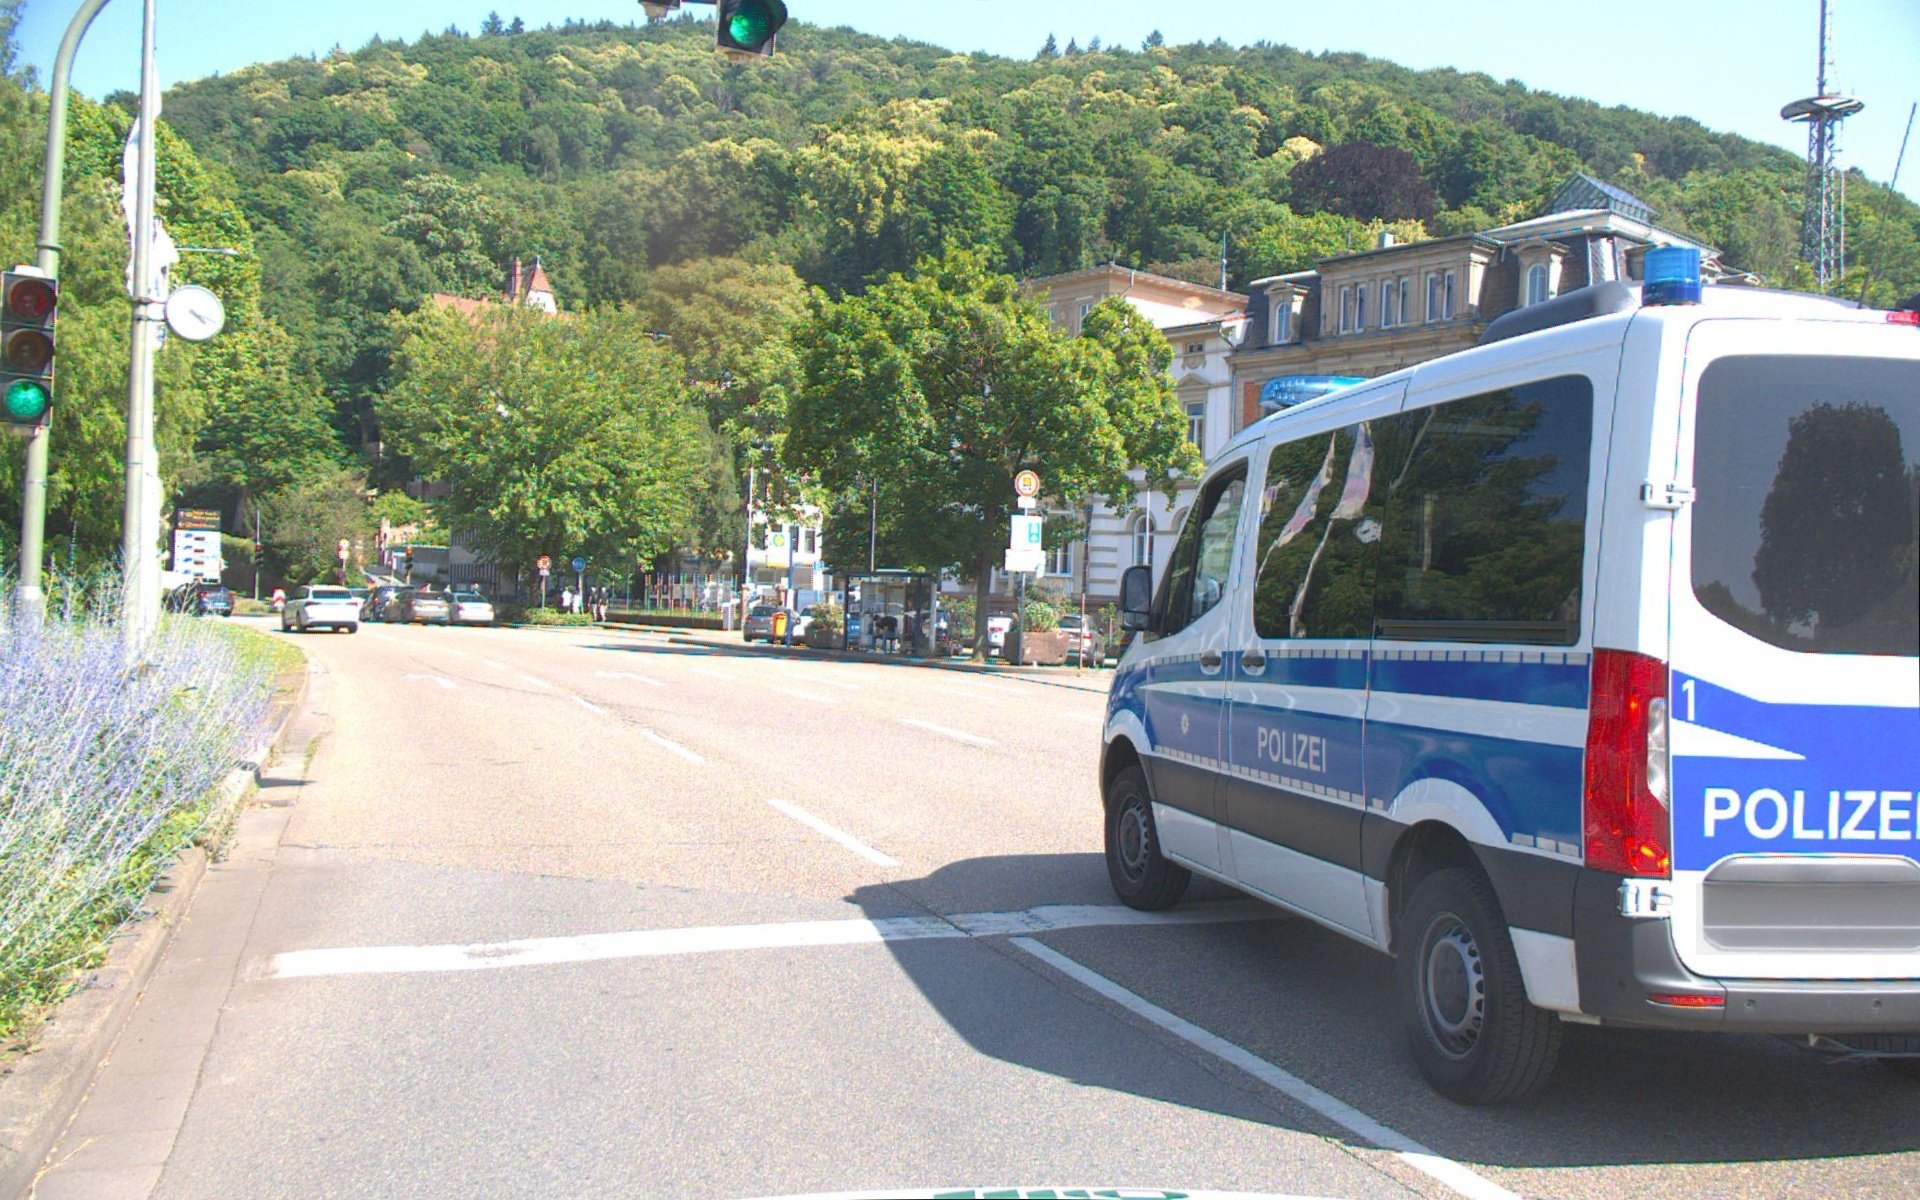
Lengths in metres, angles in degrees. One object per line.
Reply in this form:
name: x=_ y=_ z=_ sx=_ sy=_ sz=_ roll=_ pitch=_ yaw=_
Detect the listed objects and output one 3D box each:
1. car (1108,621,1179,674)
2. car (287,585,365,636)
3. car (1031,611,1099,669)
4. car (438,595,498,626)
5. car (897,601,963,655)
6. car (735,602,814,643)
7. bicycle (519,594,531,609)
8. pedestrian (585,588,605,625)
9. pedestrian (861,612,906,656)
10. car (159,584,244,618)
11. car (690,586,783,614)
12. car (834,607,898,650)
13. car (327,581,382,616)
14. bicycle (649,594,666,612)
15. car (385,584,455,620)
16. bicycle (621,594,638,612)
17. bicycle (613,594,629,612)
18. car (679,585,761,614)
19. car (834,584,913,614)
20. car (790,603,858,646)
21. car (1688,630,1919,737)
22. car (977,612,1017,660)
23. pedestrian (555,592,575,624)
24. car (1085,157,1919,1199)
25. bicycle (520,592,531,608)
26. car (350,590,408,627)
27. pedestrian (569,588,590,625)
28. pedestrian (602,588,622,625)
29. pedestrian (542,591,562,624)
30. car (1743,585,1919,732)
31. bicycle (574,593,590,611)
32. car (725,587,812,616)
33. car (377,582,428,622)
car: x=5.427 y=1.376 z=48.623 sx=1.566 sy=1.442 sz=3.823 roll=2 pitch=0 yaw=13
car: x=-20.049 y=0.306 z=52.242 sx=1.822 sy=1.486 sz=3.461 roll=2 pitch=0 yaw=-29
car: x=3.322 y=1.222 z=51.820 sx=1.672 sy=1.658 sz=4.319 roll=2 pitch=0 yaw=9
car: x=-21.613 y=0.468 z=72.591 sx=1.738 sy=1.234 sz=3.458 roll=2 pitch=0 yaw=-30
car: x=-1.017 y=0.965 z=57.790 sx=1.672 sy=1.725 sz=4.277 roll=2 pitch=0 yaw=7
car: x=-7.258 y=0.882 z=65.076 sx=1.783 sy=1.487 sz=4.110 roll=2 pitch=0 yaw=13
bicycle: x=-27.864 y=0.092 z=105.843 sx=0.401 sy=0.957 sz=1.328 roll=1 pitch=0 yaw=-30
pedestrian: x=-19.036 y=0.326 z=86.319 sx=0.763 sy=1.887 sz=0.820 roll=2 pitch=-1 yaw=-32
pedestrian: x=-2.201 y=0.982 z=47.595 sx=0.777 sy=1.218 sz=1.016 roll=2 pitch=-1 yaw=39
car: x=-34.856 y=0.041 z=75.993 sx=3.765 sy=1.490 sz=1.855 roll=1 pitch=0 yaw=34
car: x=-11.609 y=-0.003 z=86.046 sx=4.425 sy=1.359 sz=1.801 roll=1 pitch=0 yaw=-33
car: x=-3.422 y=1.027 z=60.913 sx=1.672 sy=1.467 sz=3.814 roll=2 pitch=0 yaw=7
car: x=-28.127 y=-0.083 z=76.759 sx=1.738 sy=1.486 sz=3.608 roll=2 pitch=0 yaw=-30
bicycle: x=-19.571 y=0.208 z=106.906 sx=0.531 sy=1.104 sz=1.818 roll=1 pitch=0 yaw=-28
car: x=-22.101 y=0.061 z=67.665 sx=1.741 sy=1.357 sz=3.756 roll=2 pitch=0 yaw=-34
bicycle: x=-21.191 y=0.177 z=106.133 sx=0.531 sy=1.104 sz=1.818 roll=1 pitch=0 yaw=-28
bicycle: x=-21.696 y=0.167 z=105.824 sx=0.531 sy=1.104 sz=1.818 roll=1 pitch=0 yaw=-28
car: x=-13.145 y=-0.016 z=90.658 sx=4.109 sy=1.501 sz=1.855 roll=1 pitch=0 yaw=-36
car: x=-5.052 y=-0.042 z=96.603 sx=4.267 sy=1.631 sz=1.801 roll=1 pitch=0 yaw=-33
car: x=-5.184 y=0.939 z=63.476 sx=1.672 sy=1.538 sz=3.814 roll=2 pitch=0 yaw=10
car: x=15.851 y=1.471 z=29.647 sx=1.805 sy=1.655 sz=4.809 roll=3 pitch=0 yaw=-40
car: x=1.247 y=1.176 z=54.497 sx=1.172 sy=1.508 sz=2.289 roll=2 pitch=0 yaw=4
pedestrian: x=-20.878 y=0.423 z=87.443 sx=0.763 sy=1.692 sz=0.820 roll=2 pitch=-1 yaw=-32
car: x=2.203 y=0.242 z=6.645 sx=2.037 sy=2.552 sz=4.914 roll=2 pitch=-1 yaw=-12
bicycle: x=-28.349 y=0.007 z=107.897 sx=0.401 sy=1.030 sz=1.328 roll=1 pitch=0 yaw=-30
car: x=-25.504 y=0.368 z=72.600 sx=1.738 sy=1.486 sz=3.458 roll=2 pitch=0 yaw=-30
pedestrian: x=-19.720 y=0.312 z=85.740 sx=0.763 sy=1.887 sz=0.820 roll=2 pitch=-1 yaw=-32
pedestrian: x=-18.273 y=0.342 z=86.830 sx=0.763 sy=1.887 sz=0.820 roll=2 pitch=-1 yaw=-32
pedestrian: x=-21.273 y=0.404 z=86.311 sx=0.763 sy=1.692 sz=0.821 roll=2 pitch=-1 yaw=-30
car: x=17.943 y=1.115 z=31.331 sx=1.980 sy=2.649 sz=5.243 roll=3 pitch=-1 yaw=-39
bicycle: x=-23.931 y=0.123 z=104.681 sx=0.531 sy=1.104 sz=1.818 roll=1 pitch=0 yaw=-28
car: x=-9.734 y=0.088 z=84.239 sx=4.047 sy=1.359 sz=1.801 roll=1 pitch=0 yaw=-33
car: x=-28.493 y=0.093 z=84.486 sx=1.738 sy=1.972 sz=3.458 roll=2 pitch=0 yaw=-30
